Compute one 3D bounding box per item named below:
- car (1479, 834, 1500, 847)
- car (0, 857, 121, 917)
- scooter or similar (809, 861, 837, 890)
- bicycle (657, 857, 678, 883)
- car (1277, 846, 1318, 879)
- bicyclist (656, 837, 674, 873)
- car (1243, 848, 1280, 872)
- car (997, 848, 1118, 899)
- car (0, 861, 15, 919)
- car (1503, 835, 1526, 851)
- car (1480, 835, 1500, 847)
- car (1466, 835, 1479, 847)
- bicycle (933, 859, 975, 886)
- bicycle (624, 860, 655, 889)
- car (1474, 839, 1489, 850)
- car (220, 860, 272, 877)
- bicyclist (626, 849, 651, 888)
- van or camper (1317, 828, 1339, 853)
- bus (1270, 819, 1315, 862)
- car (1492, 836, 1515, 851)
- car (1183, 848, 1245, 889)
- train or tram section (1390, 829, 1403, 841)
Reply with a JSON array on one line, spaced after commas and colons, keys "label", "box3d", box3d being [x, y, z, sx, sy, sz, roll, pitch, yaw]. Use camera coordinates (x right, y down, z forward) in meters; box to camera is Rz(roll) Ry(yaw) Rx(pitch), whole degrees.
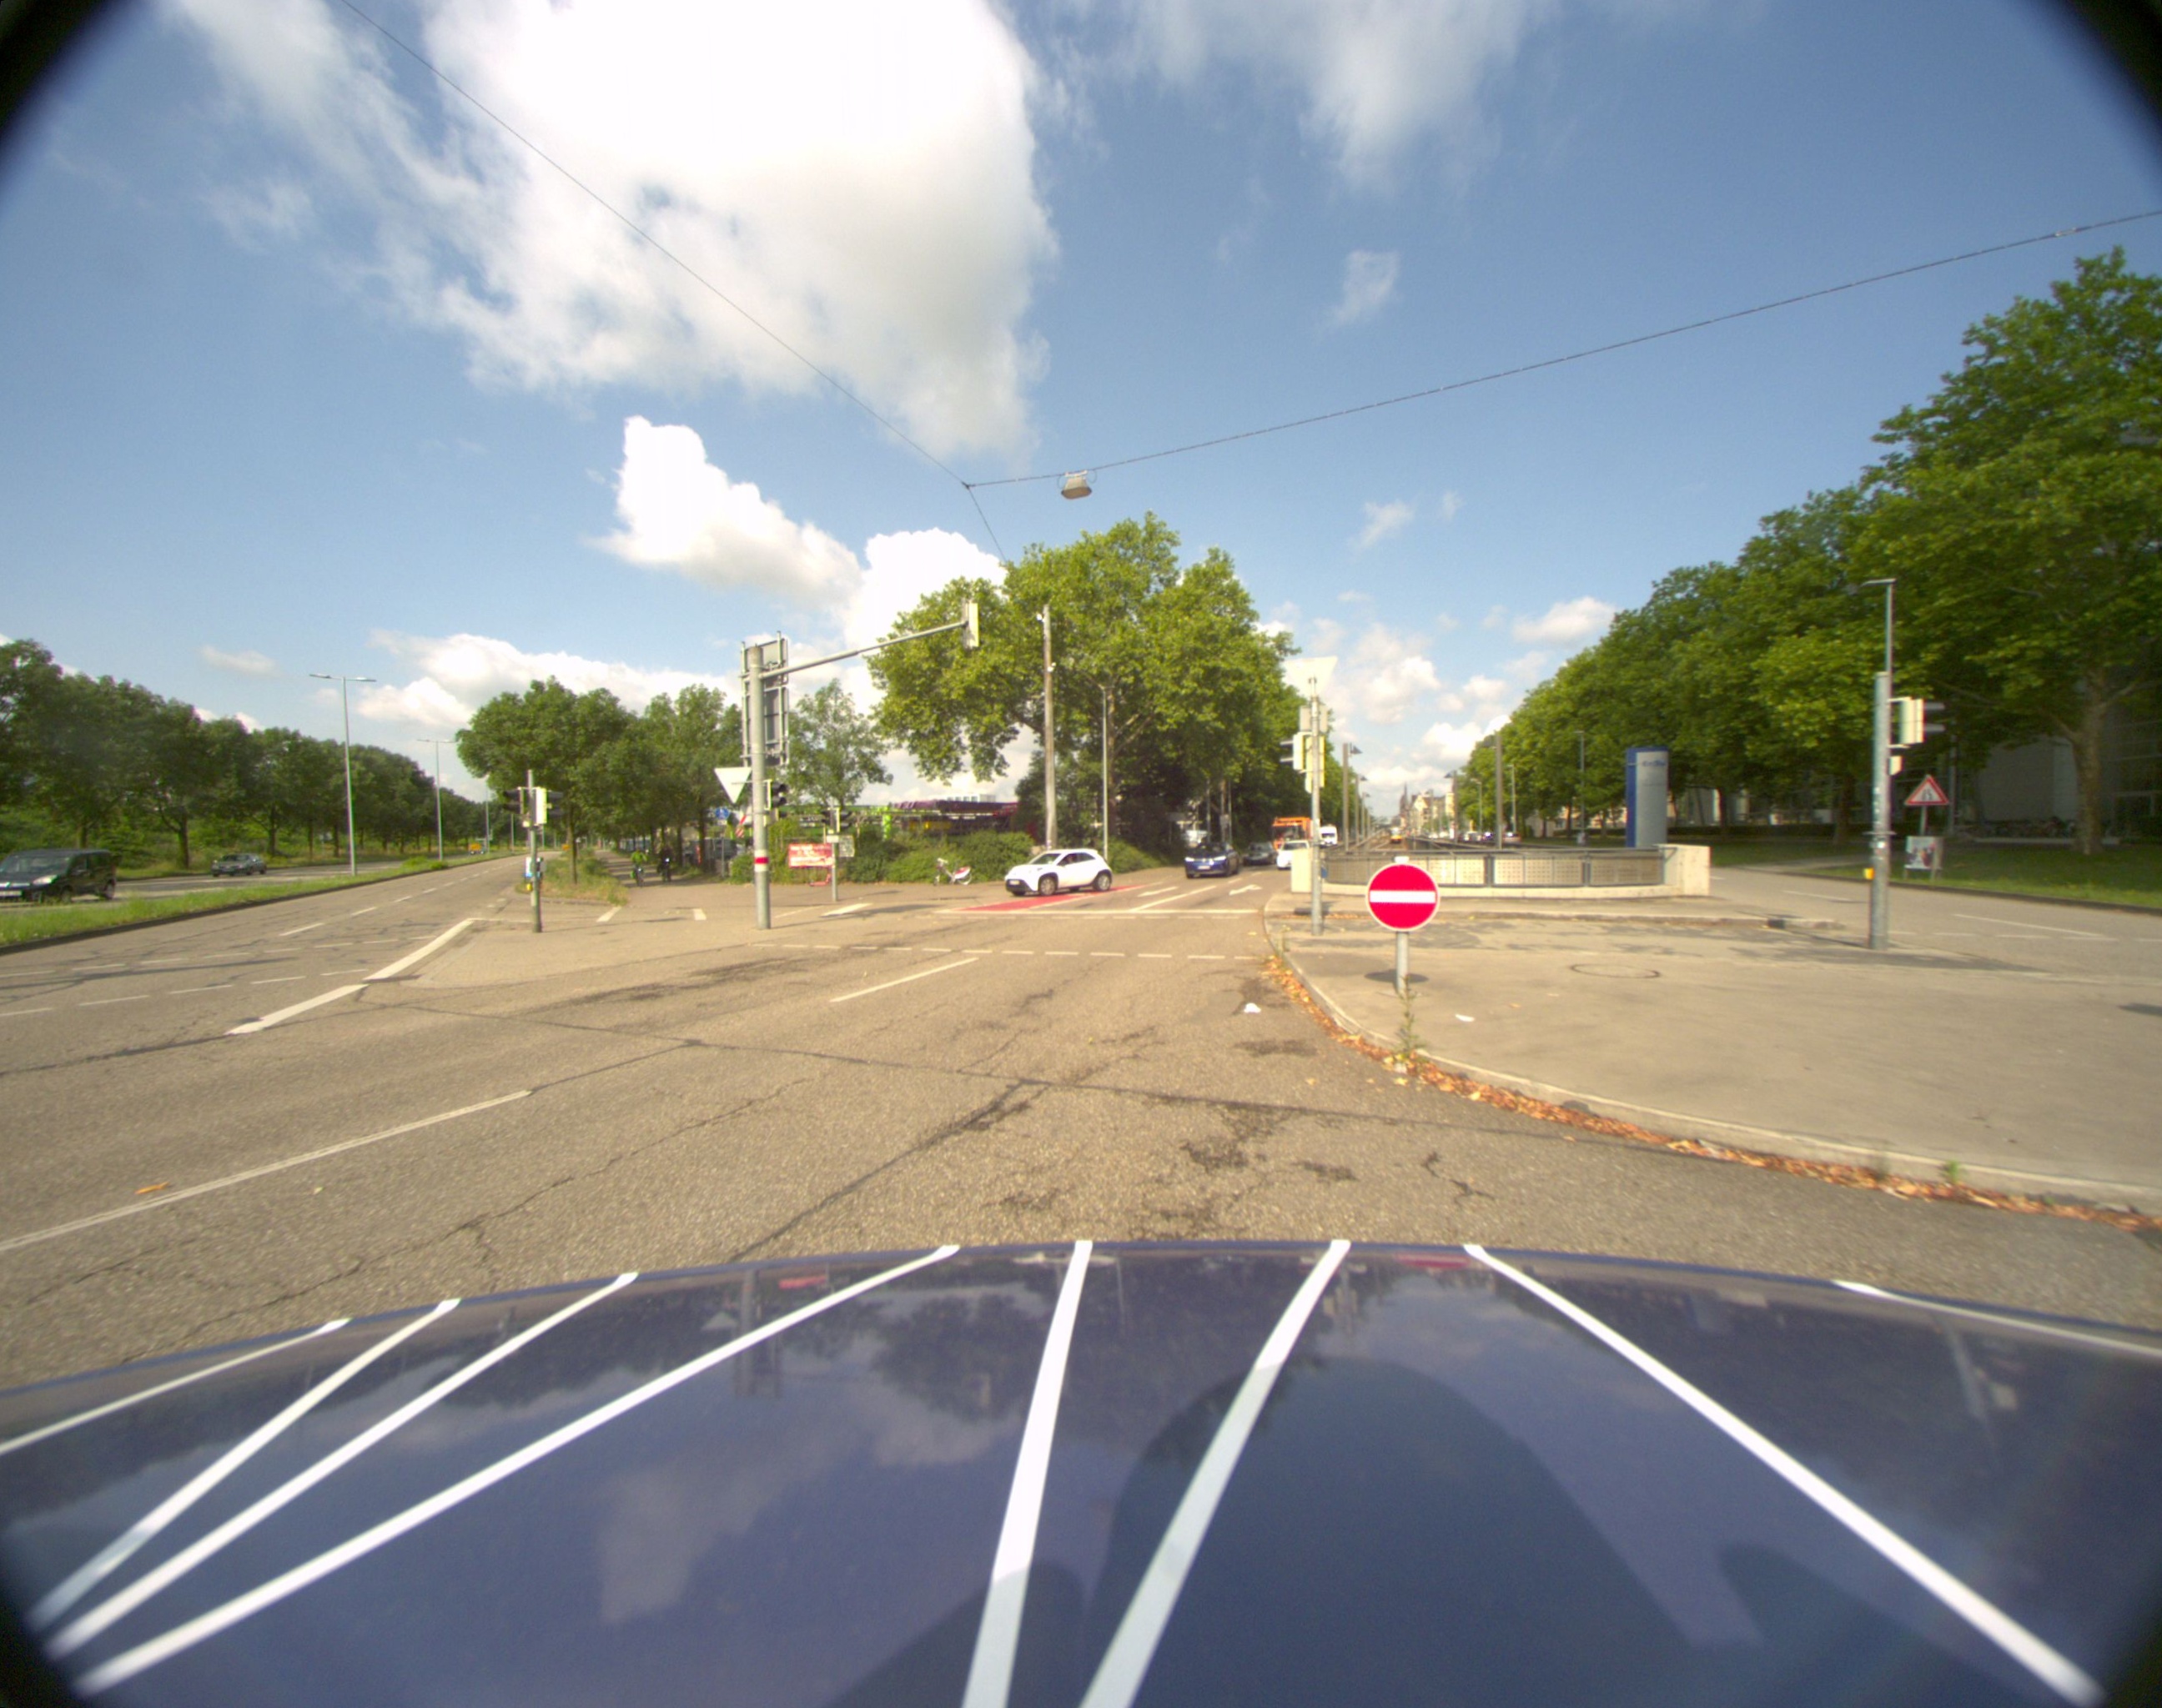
[{"label": "car", "box3d": [46.150, -1.503, 85.885, 1.577, 1.368, 3.901, 2, 2, 22]}, {"label": "car", "box3d": [-34.290, 1.032, 25.253, 1.646, 1.626, 4.193, 0, 3, -33]}, {"label": "scooter or similar", "box3d": [-10.194, 0.842, 30.042, 1.009, 1.105, 0.409, 0, 2, 22]}, {"label": "bicycle", "box3d": [-19.810, 0.751, 36.407, 0.793, 1.189, 2.227, -2, 2, -29]}, {"label": "car", "box3d": [11.224, 0.403, 39.280, 1.734, 1.477, 3.606, -3, 1, 20]}, {"label": "bicyclist", "box3d": [-19.918, 0.034, 36.376, 0.678, 1.676, 0.753, -3, 2, -29]}, {"label": "car", "box3d": [11.500, 0.348, 48.275, 1.768, 1.456, 4.005, 0, 1, 22]}, {"label": "car", "box3d": [-0.737, 0.626, 25.689, 3.805, 1.471, 1.746, -4, 1, -43]}, {"label": "car", "box3d": [-30.842, 1.141, 19.710, 1.823, 1.634, 4.790, 0, 3, -30]}, {"label": "car", "box3d": [41.524, -1.091, 72.792, 1.418, 1.448, 3.161, 2, 2, 21]}, {"label": "car", "box3d": [46.023, -1.486, 85.514, 1.608, 1.199, 3.132, 2, 2, 21]}, {"label": "car", "box3d": [48.534, -1.640, 94.188, 1.165, 1.368, 2.749, 2, 2, 21]}, {"label": "bicycle", "box3d": [-5.079, 0.742, 30.473, 1.637, 1.037, 0.527, -1, 6, -6]}, {"label": "bicycle", "box3d": [-19.435, 0.894, 33.421, 0.679, 1.190, 2.227, -6, 3, -40]}, {"label": "car", "box3d": [47.405, -1.110, 89.977, 1.179, 1.236, 2.553, 1, 2, 21]}, {"label": "car", "box3d": [-52.946, 0.896, 48.212, 1.547, 1.043, 3.361, 0, 0, -36]}, {"label": "bicyclist", "box3d": [-19.474, 0.638, 33.432, 0.679, 1.670, 0.835, -7, 4, -41]}, {"label": "van or camper", "box3d": [29.504, -1.629, 90.566, 2.160, 2.770, 5.973, 1, 2, 20]}, {"label": "bus", "box3d": [18.629, -1.254, 66.393, 2.740, 3.446, 10.408, 0, 2, 22]}, {"label": "car", "box3d": [44.069, -1.130, 79.271, 1.579, 1.426, 3.161, 2, 2, 21]}, {"label": "car", "box3d": [6.215, 0.630, 35.121, 1.888, 1.566, 4.586, -3, 2, 22]}, {"label": "train or tram section", "box3d": [71.287, -4.281, 171.720, 2.213, 2.444, 6.255, 0, 1, 16]}]
